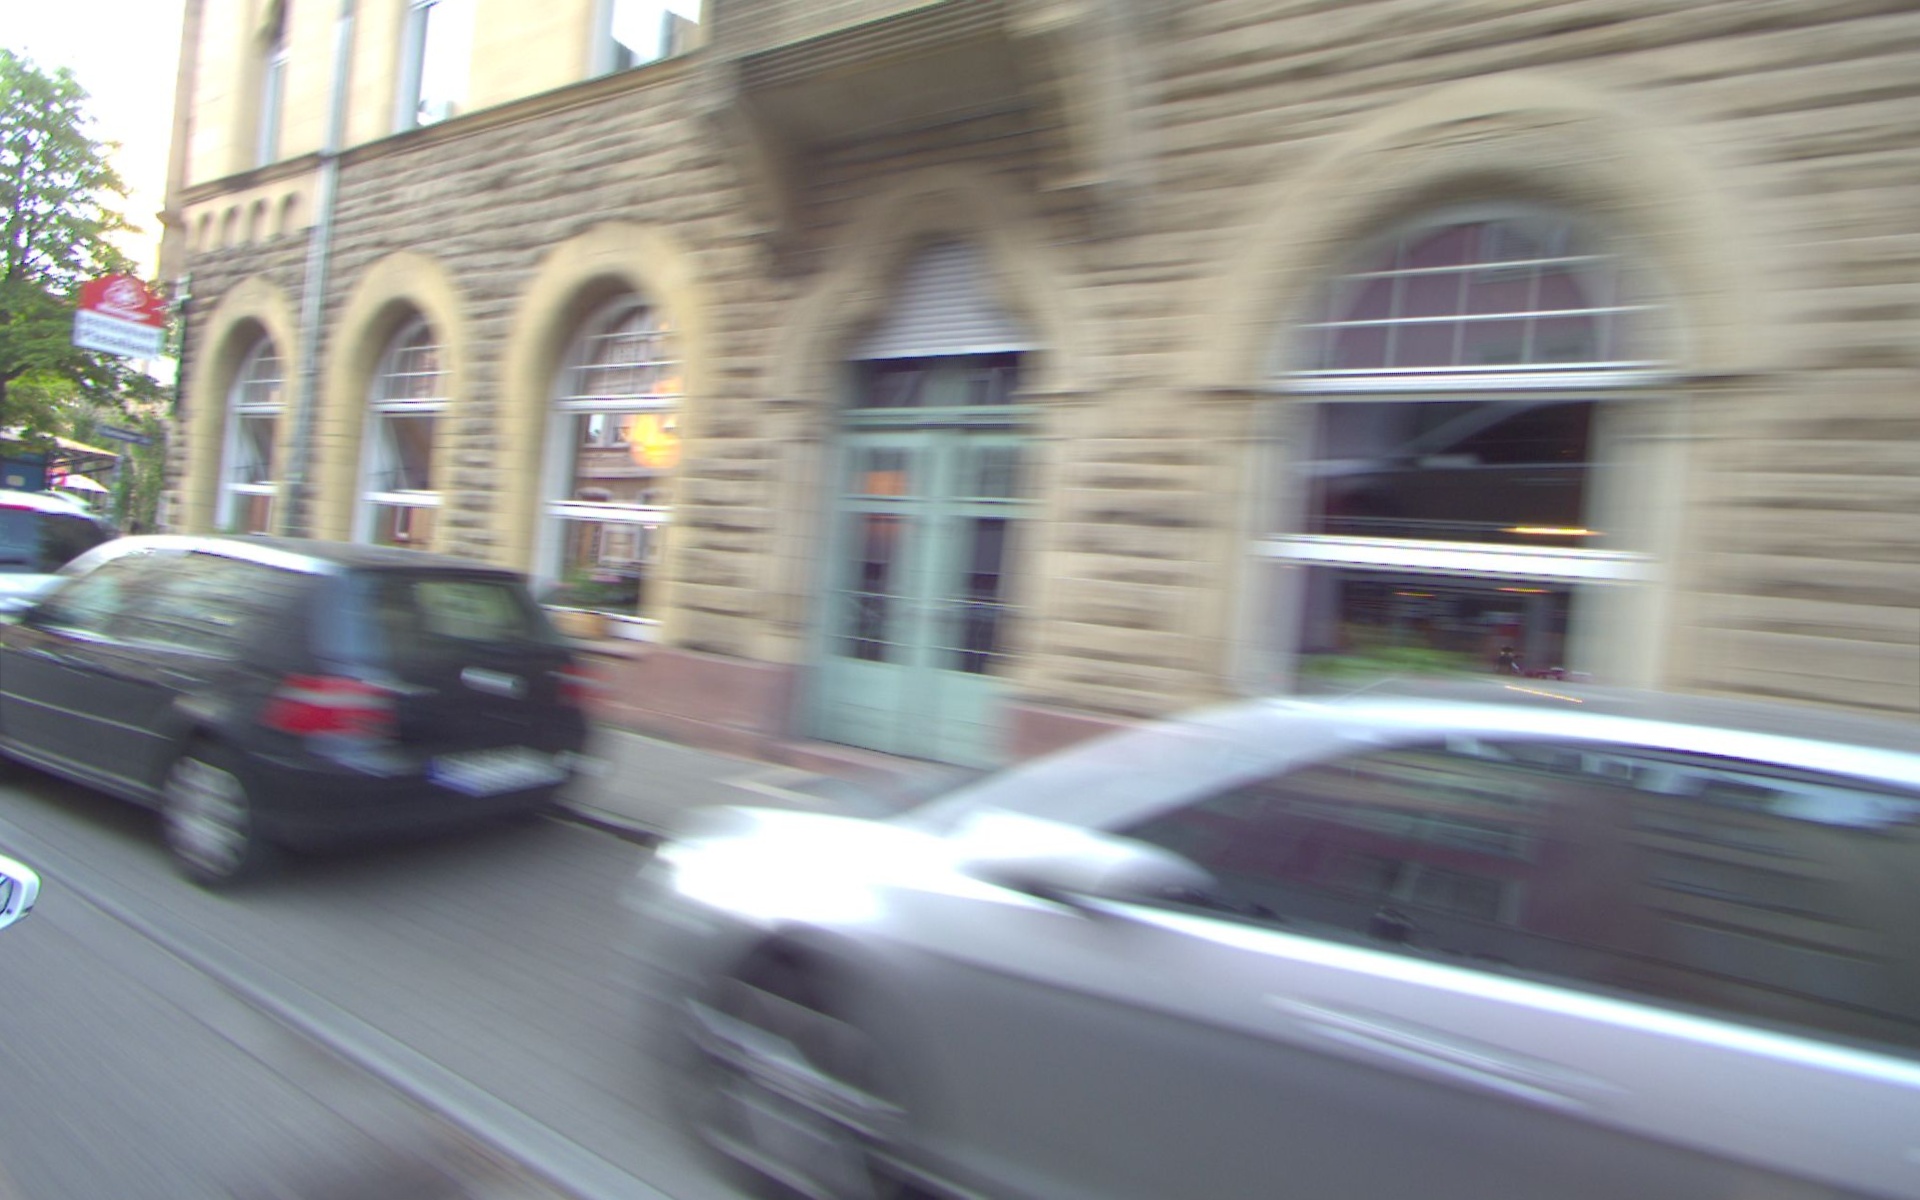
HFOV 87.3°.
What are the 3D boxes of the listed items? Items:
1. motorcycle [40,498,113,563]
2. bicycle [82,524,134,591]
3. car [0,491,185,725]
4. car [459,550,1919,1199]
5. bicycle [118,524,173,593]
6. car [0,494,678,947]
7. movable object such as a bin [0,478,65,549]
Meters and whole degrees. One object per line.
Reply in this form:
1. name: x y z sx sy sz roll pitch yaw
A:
1. motorcycle: -23.133 -1.826 26.332 1.851 1.471 0.868 7 1 32
2. bicycle: -15.405 -0.781 18.164 1.811 1.083 0.473 6 0 44
3. car: -8.026 -0.125 7.965 4.393 1.504 1.762 7 3 35
4. car: 0.954 0.853 2.571 4.480 1.504 1.765 6 1 30
5. bicycle: -14.952 -0.780 18.460 1.811 1.125 0.500 6 0 44
6. car: -3.883 0.318 5.464 4.477 1.505 1.765 6 3 28
7. movable object such as a bin: -22.950 -2.134 24.624 0.808 1.491 1.282 7 -3 40
